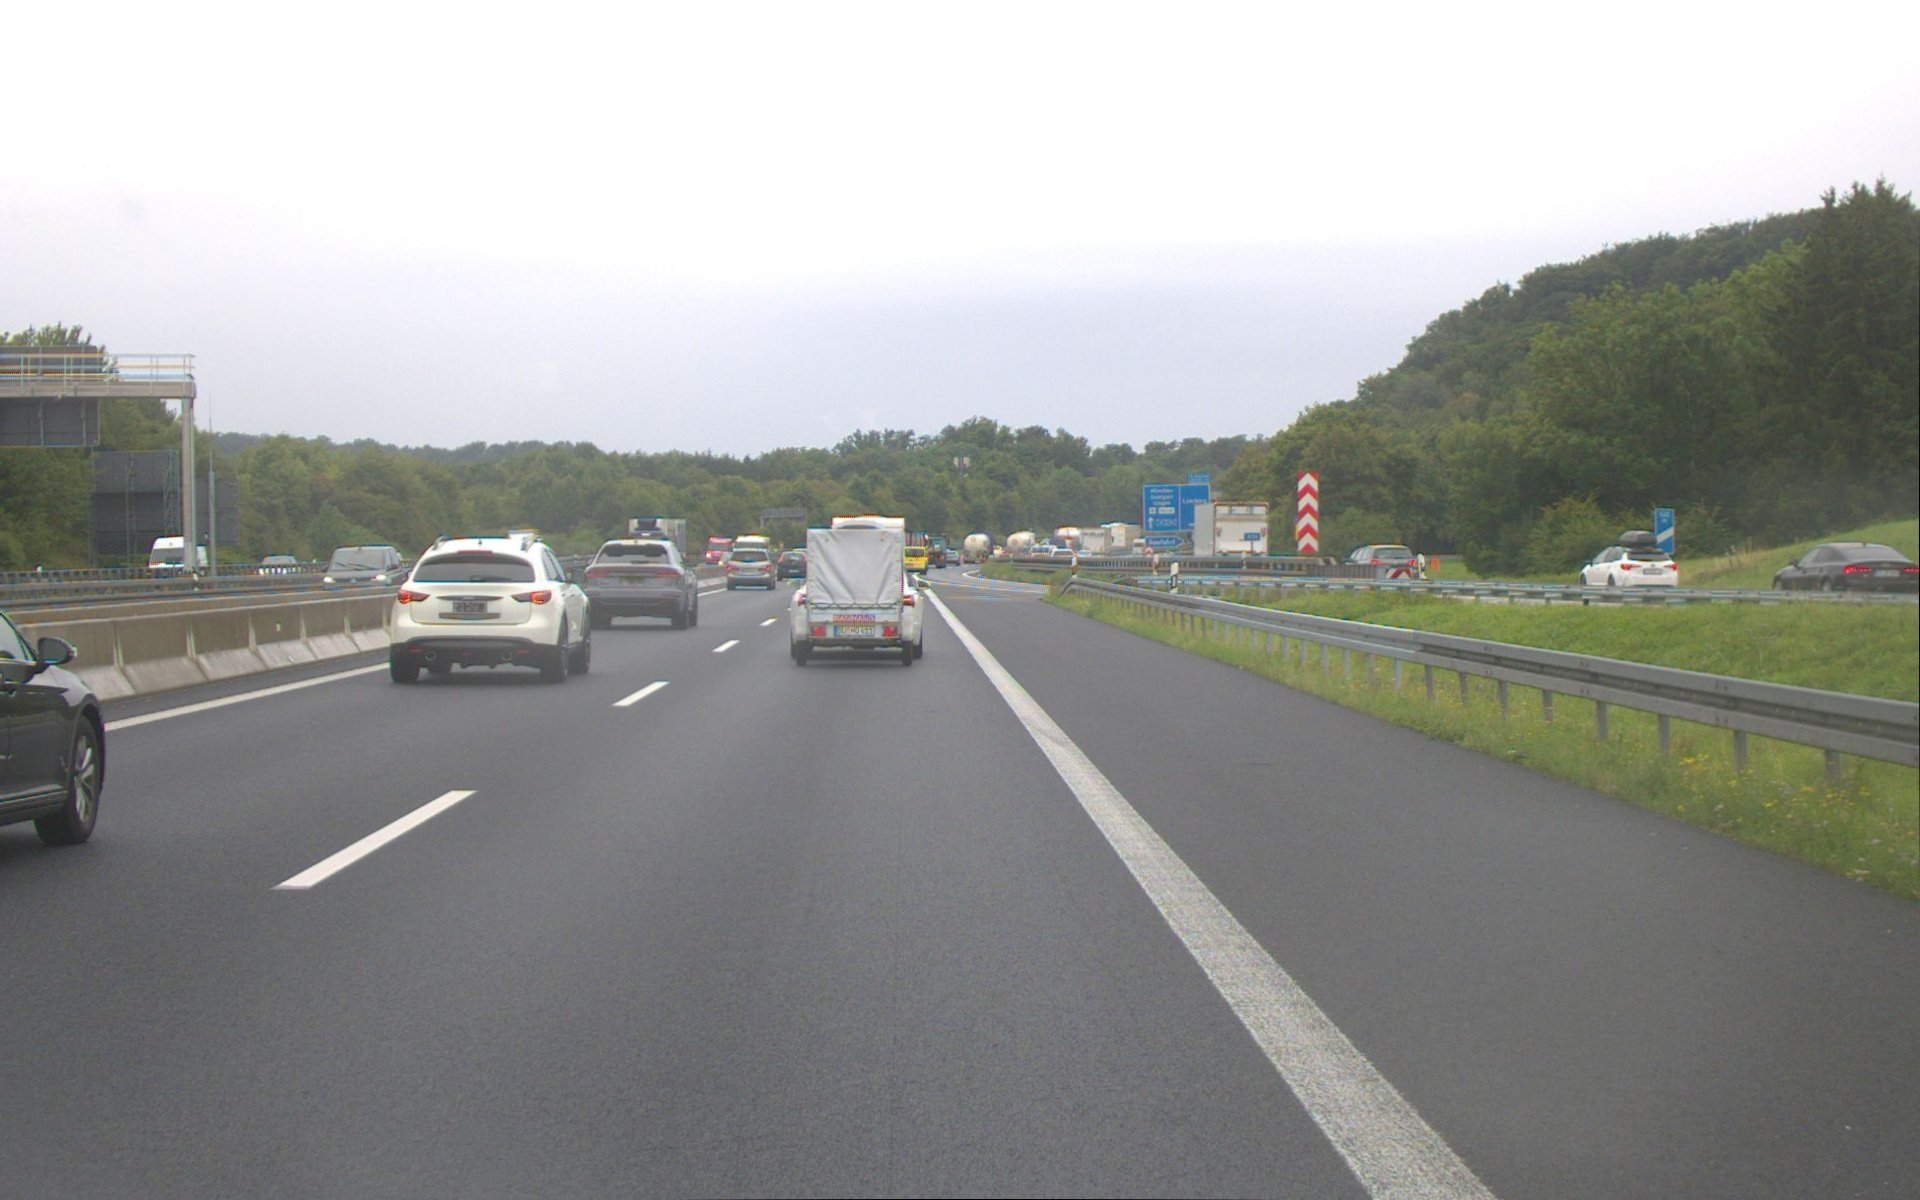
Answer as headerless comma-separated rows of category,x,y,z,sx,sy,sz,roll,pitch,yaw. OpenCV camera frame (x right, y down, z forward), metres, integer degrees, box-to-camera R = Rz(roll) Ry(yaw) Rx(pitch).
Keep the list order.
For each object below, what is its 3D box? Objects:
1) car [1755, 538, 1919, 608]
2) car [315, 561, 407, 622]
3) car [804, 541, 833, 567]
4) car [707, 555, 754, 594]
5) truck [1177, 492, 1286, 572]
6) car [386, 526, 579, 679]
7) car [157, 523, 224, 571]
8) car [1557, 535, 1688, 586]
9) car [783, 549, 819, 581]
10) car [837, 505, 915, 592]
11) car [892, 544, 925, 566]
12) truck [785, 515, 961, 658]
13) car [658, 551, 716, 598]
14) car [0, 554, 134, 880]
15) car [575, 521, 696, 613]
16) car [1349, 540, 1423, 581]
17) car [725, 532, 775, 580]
car,18.100,-0.568,70.242,1.986,1.372,5.320,0,1,-6
car,-17.526,-0.268,100.762,1.993,1.645,5.027,1,1,-2
car,-8.786,-2.853,212.997,1.645,1.568,4.000,1,1,-1
car,-10.022,-1.141,150.235,1.819,1.656,4.017,0,1,-1
truck,12.886,-3.202,164.075,3.824,3.646,8.273,1,1,-5
car,-5.503,-0.007,40.123,2.048,1.665,4.542,1,1,-6
car,-36.405,-2.506,162.779,1.993,2.206,5.716,-1,1,-1
car,18.558,-1.110,96.555,1.985,1.372,5.080,0,1,-9
car,-7.998,-1.759,173.571,1.645,1.568,4.000,1,1,-1
car,-2.754,-1.664,111.182,2.331,2.716,6.541,0,1,-3
car,-3.662,-3.185,243.581,1.993,1.546,4.001,1,1,-6
truck,-1.226,-0.231,47.471,2.242,1.833,6.585,0,1,-2
car,-9.974,-0.952,125.806,1.819,1.656,4.017,0,1,-1
car,-5.213,0.521,15.637,1.787,1.454,4.802,1,1,-1
car,-6.241,-0.669,66.558,1.975,1.697,4.803,1,1,-1
car,13.714,-1.276,110.819,1.539,1.284,3.536,1,0,-7
car,-8.031,-1.707,131.946,1.738,1.787,4.000,1,1,-1
